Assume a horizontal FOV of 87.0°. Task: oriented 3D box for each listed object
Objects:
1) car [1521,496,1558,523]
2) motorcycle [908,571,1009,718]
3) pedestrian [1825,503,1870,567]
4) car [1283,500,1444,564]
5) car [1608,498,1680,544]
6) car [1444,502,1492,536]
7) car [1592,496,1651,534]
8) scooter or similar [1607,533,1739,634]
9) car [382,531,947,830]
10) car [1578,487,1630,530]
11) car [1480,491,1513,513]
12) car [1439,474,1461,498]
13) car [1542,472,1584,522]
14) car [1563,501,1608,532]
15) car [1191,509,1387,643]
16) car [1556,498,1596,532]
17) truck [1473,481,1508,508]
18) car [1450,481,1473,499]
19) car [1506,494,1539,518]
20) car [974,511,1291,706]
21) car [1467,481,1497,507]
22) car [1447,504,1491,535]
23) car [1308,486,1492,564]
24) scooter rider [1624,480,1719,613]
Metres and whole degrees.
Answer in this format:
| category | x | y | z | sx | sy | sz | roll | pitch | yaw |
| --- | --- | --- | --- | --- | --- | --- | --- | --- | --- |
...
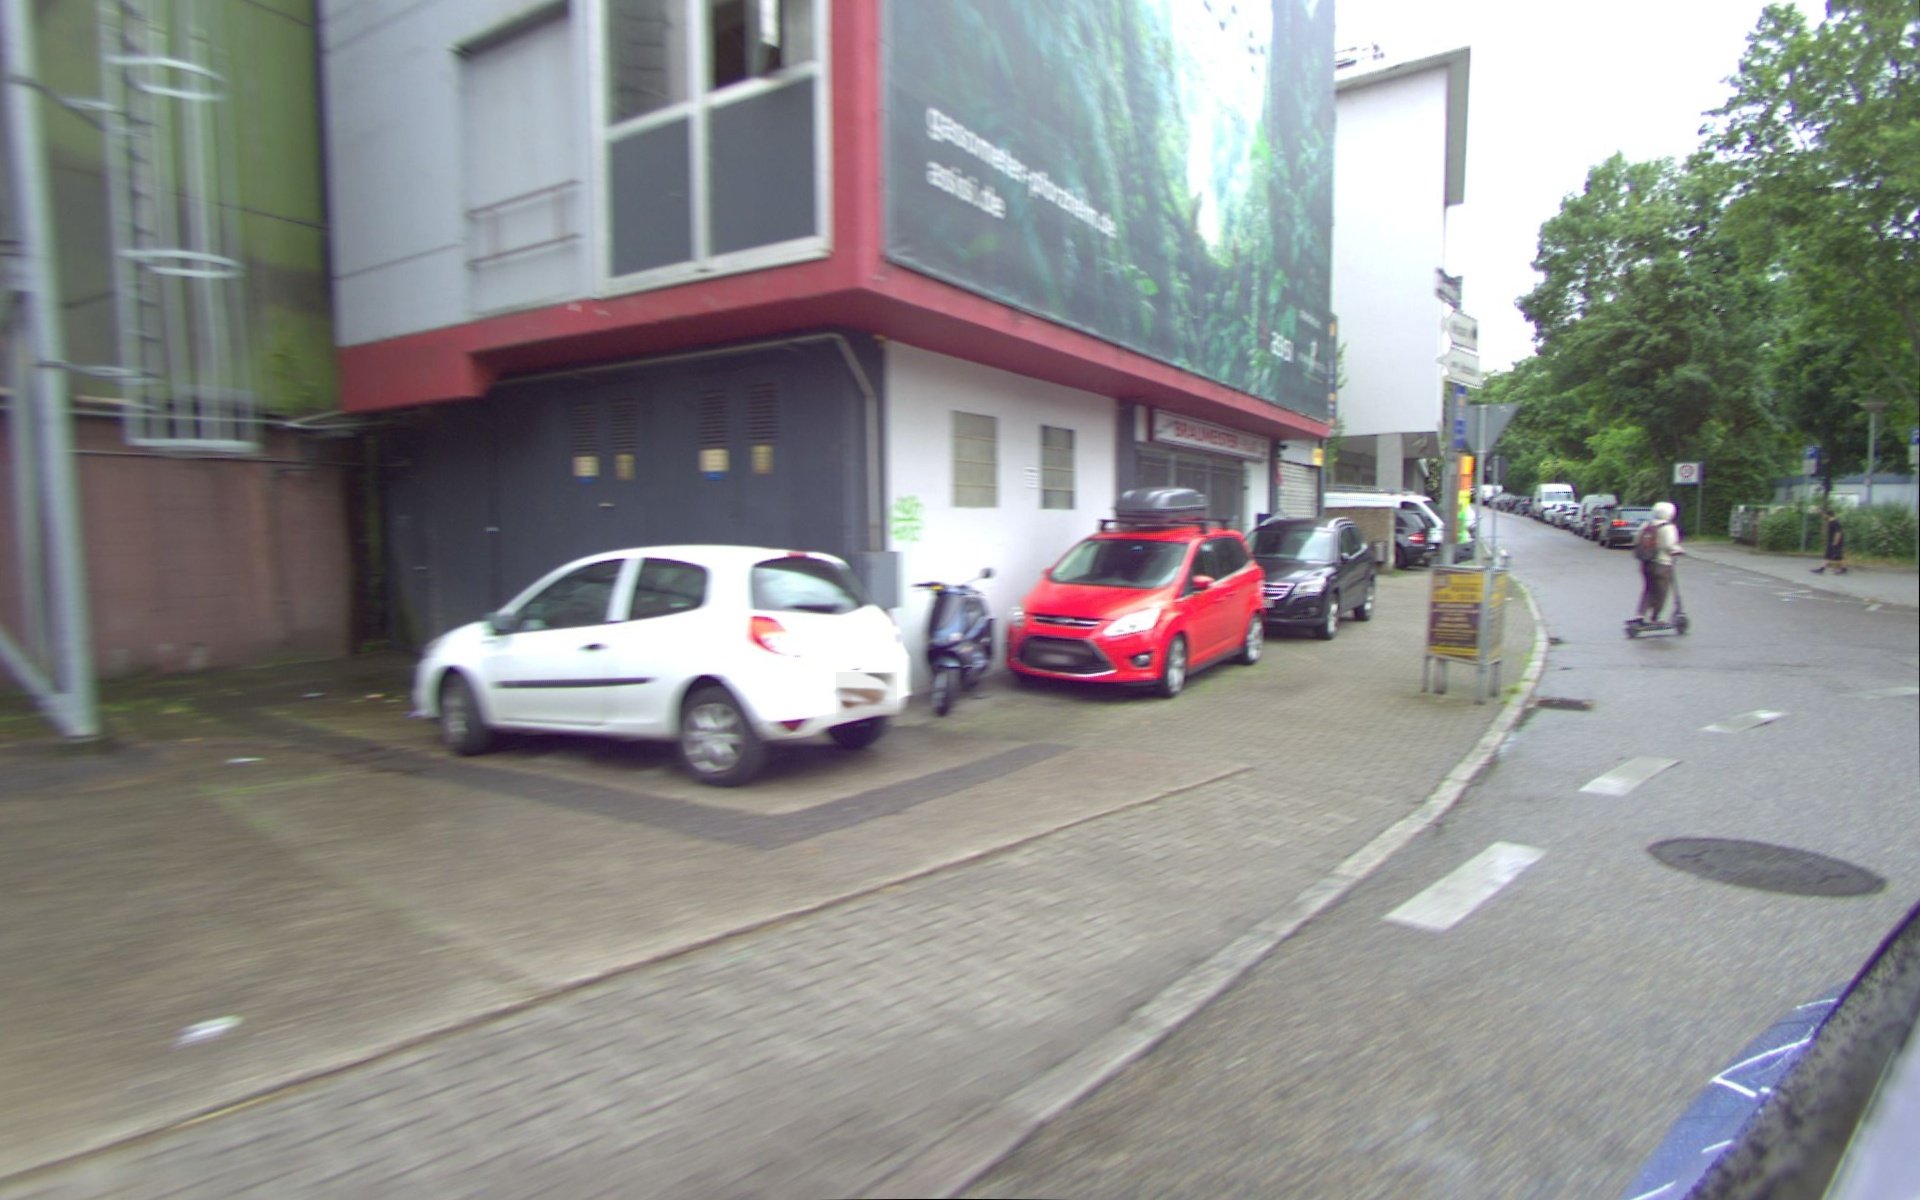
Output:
| category | x | y | z | sx | sy | sz | roll | pitch | yaw |
| --- | --- | --- | --- | --- | --- | --- | --- | --- | --- |
| car | 45.283 | -7.098 | 79.116 | 1.886 | 2.058 | 3.976 | 1 | 6 | 21 |
| motorcycle | 0.013 | 0.352 | 9.234 | 0.446 | 1.174 | 1.415 | 0 | 4 | 20 |
| pedestrian | 22.400 | -1.647 | 25.548 | 0.698 | 1.585 | 0.616 | 2 | 6 | 31 |
| car | 11.693 | -2.036 | 29.463 | 3.979 | 1.712 | 1.860 | 4 | 8 | 37 |
| car | 26.755 | -3.133 | 39.690 | 1.892 | 1.670 | 3.964 | 2 | 6 | 28 |
| car | 24.472 | -3.915 | 48.688 | 1.892 | 1.519 | 3.964 | 2 | 6 | 28 |
| car | 30.391 | -3.925 | 46.591 | 1.892 | 1.670 | 3.964 | 2 | 6 | 28 |
| scooter or similar | 10.381 | -0.260 | 14.770 | 1.380 | 1.338 | 0.807 | -3 | 5 | -8 |
| car | -2.274 | 0.346 | 7.574 | 3.960 | 1.551 | 1.857 | 5 | 6 | 30 |
| car | 32.910 | -4.687 | 51.829 | 1.892 | 2.099 | 3.964 | 2 | 6 | 28 |
| car | 49.413 | -9.018 | 93.284 | 1.883 | 1.963 | 3.984 | 1 | 5 | 16 |
| car | 59.744 | -13.890 | 123.538 | 1.885 | 2.822 | 3.979 | 1 | 5 | 19 |
| car | 41.910 | -7.159 | 70.461 | 2.203 | 3.320 | 5.034 | 2 | 6 | 28 |
| car | 35.693 | -4.782 | 57.839 | 1.892 | 1.670 | 3.964 | 2 | 6 | 28 |
| car | 5.213 | -0.513 | 15.713 | 1.919 | 1.731 | 3.957 | 4 | 7 | 33 |
| car | 38.531 | -5.367 | 63.390 | 1.892 | 2.058 | 3.964 | 2 | 6 | 28 |
| truck | 52.411 | -10.409 | 100.024 | 2.020 | 2.659 | 3.990 | 0 | 5 | 12 |
| car | 57.236 | -12.550 | 115.551 | 1.885 | 1.963 | 3.980 | 1 | 5 | 19 |
| car | 48.465 | -8.107 | 87.280 | 1.886 | 1.963 | 3.976 | 1 | 6 | 21 |
| car | 2.136 | -0.092 | 11.369 | 1.919 | 1.731 | 4.442 | 3 | 5 | 33 |
| car | 54.241 | -10.976 | 105.238 | 1.765 | 2.659 | 3.987 | 1 | 5 | 14 |
| car | 26.621 | -4.221 | 52.889 | 1.892 | 1.519 | 3.964 | 2 | 6 | 28 |
| car | 13.533 | -2.404 | 31.301 | 4.866 | 2.236 | 1.860 | 4 | 7 | 37 |
| scooter rider | 10.329 | -0.794 | 14.722 | 0.766 | 1.842 | 0.807 | -3 | 5 | -9 |
